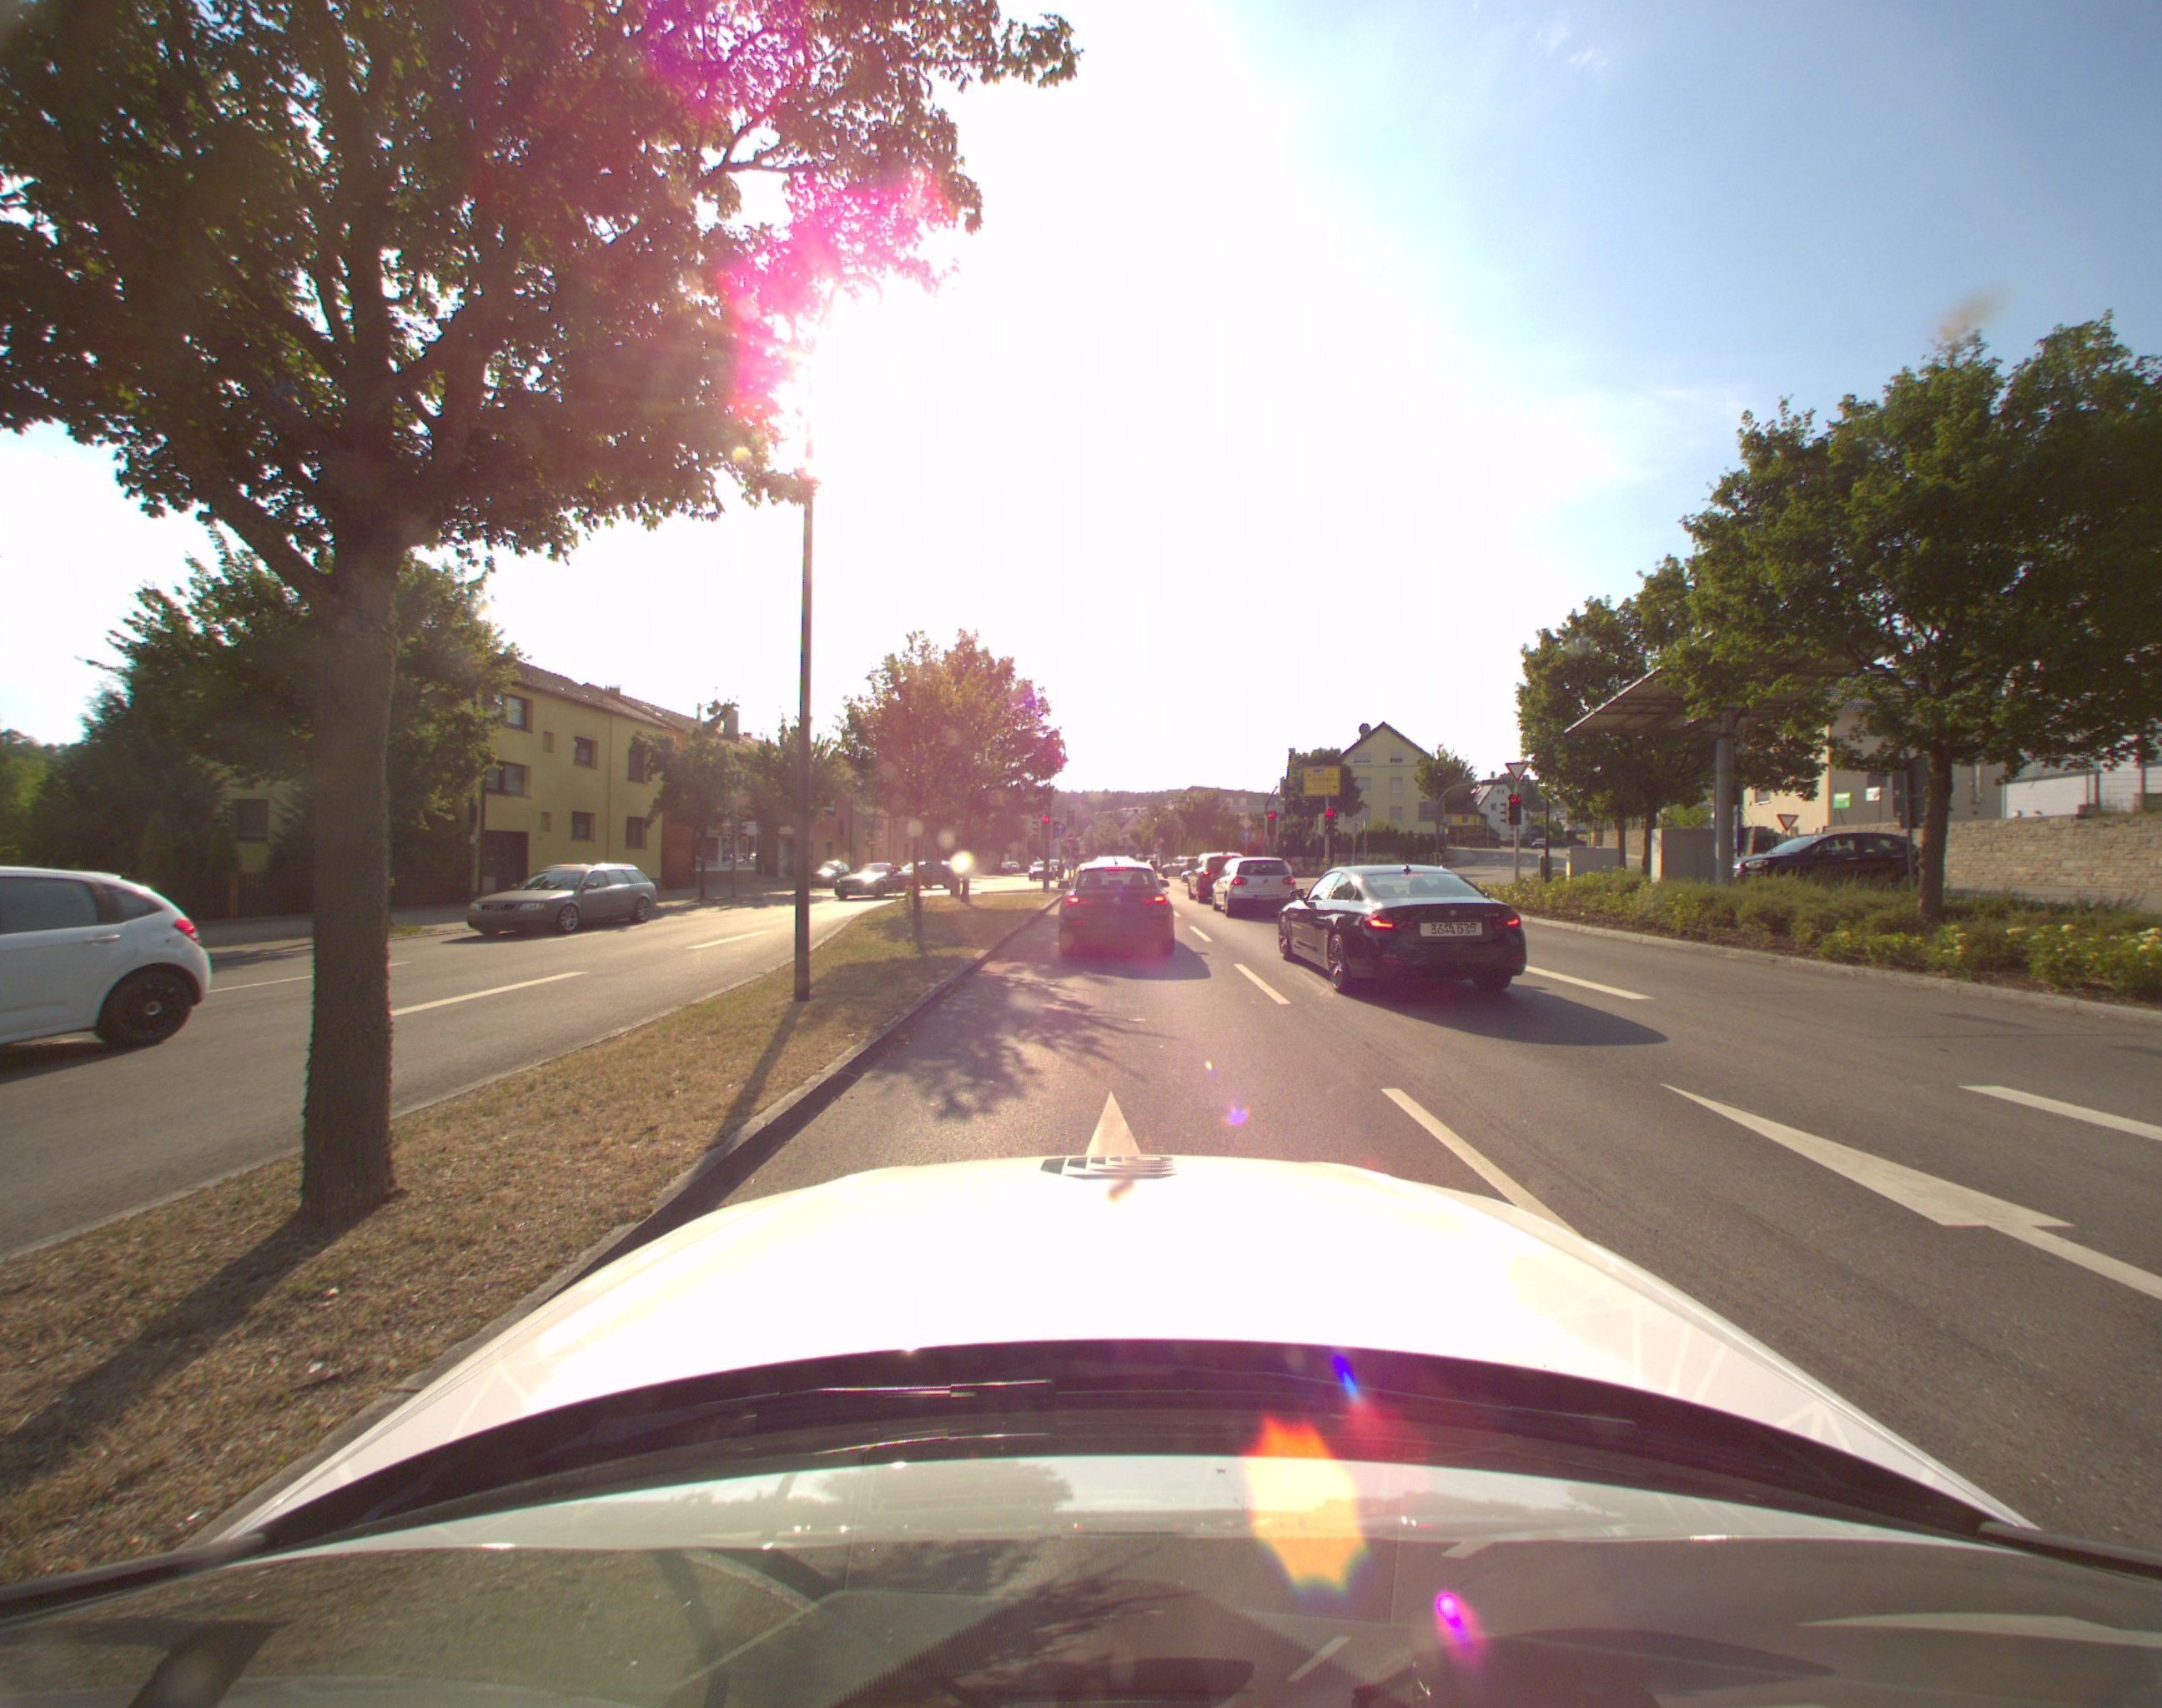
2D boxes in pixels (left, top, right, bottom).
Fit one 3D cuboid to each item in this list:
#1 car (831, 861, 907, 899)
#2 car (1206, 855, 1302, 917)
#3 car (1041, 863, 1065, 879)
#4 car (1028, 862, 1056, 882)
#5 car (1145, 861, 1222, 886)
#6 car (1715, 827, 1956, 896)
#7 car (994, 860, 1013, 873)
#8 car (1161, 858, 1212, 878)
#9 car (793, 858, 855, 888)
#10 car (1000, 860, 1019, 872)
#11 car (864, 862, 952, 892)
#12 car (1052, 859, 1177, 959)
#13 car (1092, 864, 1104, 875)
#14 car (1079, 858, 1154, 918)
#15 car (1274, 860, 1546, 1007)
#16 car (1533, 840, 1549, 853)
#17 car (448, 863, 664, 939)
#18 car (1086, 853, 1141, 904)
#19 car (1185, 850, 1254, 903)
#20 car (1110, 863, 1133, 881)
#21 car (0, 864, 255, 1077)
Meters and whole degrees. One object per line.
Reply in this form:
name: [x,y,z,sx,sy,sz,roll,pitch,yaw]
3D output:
car: [-8.366,0.990,32.589,1.774,1.349,4.480,0,0,1]
car: [4.420,0.764,21.409,1.808,1.446,4.350,-1,0,3]
car: [-2.414,1.458,70.051,1.685,1.353,4.003,0,0,3]
car: [-2.964,1.376,62.448,1.759,1.458,4.003,0,0,3]
car: [5.881,1.086,46.853,4.167,1.386,1.648,0,0,-4]
car: [18.430,0.188,20.115,3.958,1.608,1.861,0,0,14]
car: [-9.973,1.572,105.074,1.916,1.596,4.003,0,0,3]
car: [8.240,1.069,63.864,1.870,1.485,4.622,0,0,-24]
car: [-14.240,1.019,45.366,1.835,1.552,4.005,2,0,4]
car: [-9.697,1.592,110.577,1.916,1.596,4.003,0,0,3]
car: [-8.873,1.140,42.186,1.826,1.422,4.673,0,0,29]
car: [0.601,0.801,13.888,1.783,1.414,4.350,-1,0,3]
car: [2.738,2.460,129.219,1.917,1.596,4.001,0,0,1]
car: [0.987,0.833,21.945,1.808,1.451,4.245,-1,0,3]
car: [3.695,0.790,10.072,1.808,1.388,4.350,-1,0,3]
car: [64.951,-1.081,115.012,1.769,1.506,4.096,0,4,33]
car: [-11.537,0.951,18.383,1.680,1.462,4.714,0,0,2]
car: [1.184,0.818,28.902,1.808,1.641,4.245,-1,0,3]
car: [4.631,0.723,27.769,1.808,1.666,4.350,-1,0,3]
car: [4.285,1.880,86.348,1.887,1.702,4.517,-2,0,-4]
car: [-8.588,0.841,5.556,1.794,1.497,3.956,0,0,1]
